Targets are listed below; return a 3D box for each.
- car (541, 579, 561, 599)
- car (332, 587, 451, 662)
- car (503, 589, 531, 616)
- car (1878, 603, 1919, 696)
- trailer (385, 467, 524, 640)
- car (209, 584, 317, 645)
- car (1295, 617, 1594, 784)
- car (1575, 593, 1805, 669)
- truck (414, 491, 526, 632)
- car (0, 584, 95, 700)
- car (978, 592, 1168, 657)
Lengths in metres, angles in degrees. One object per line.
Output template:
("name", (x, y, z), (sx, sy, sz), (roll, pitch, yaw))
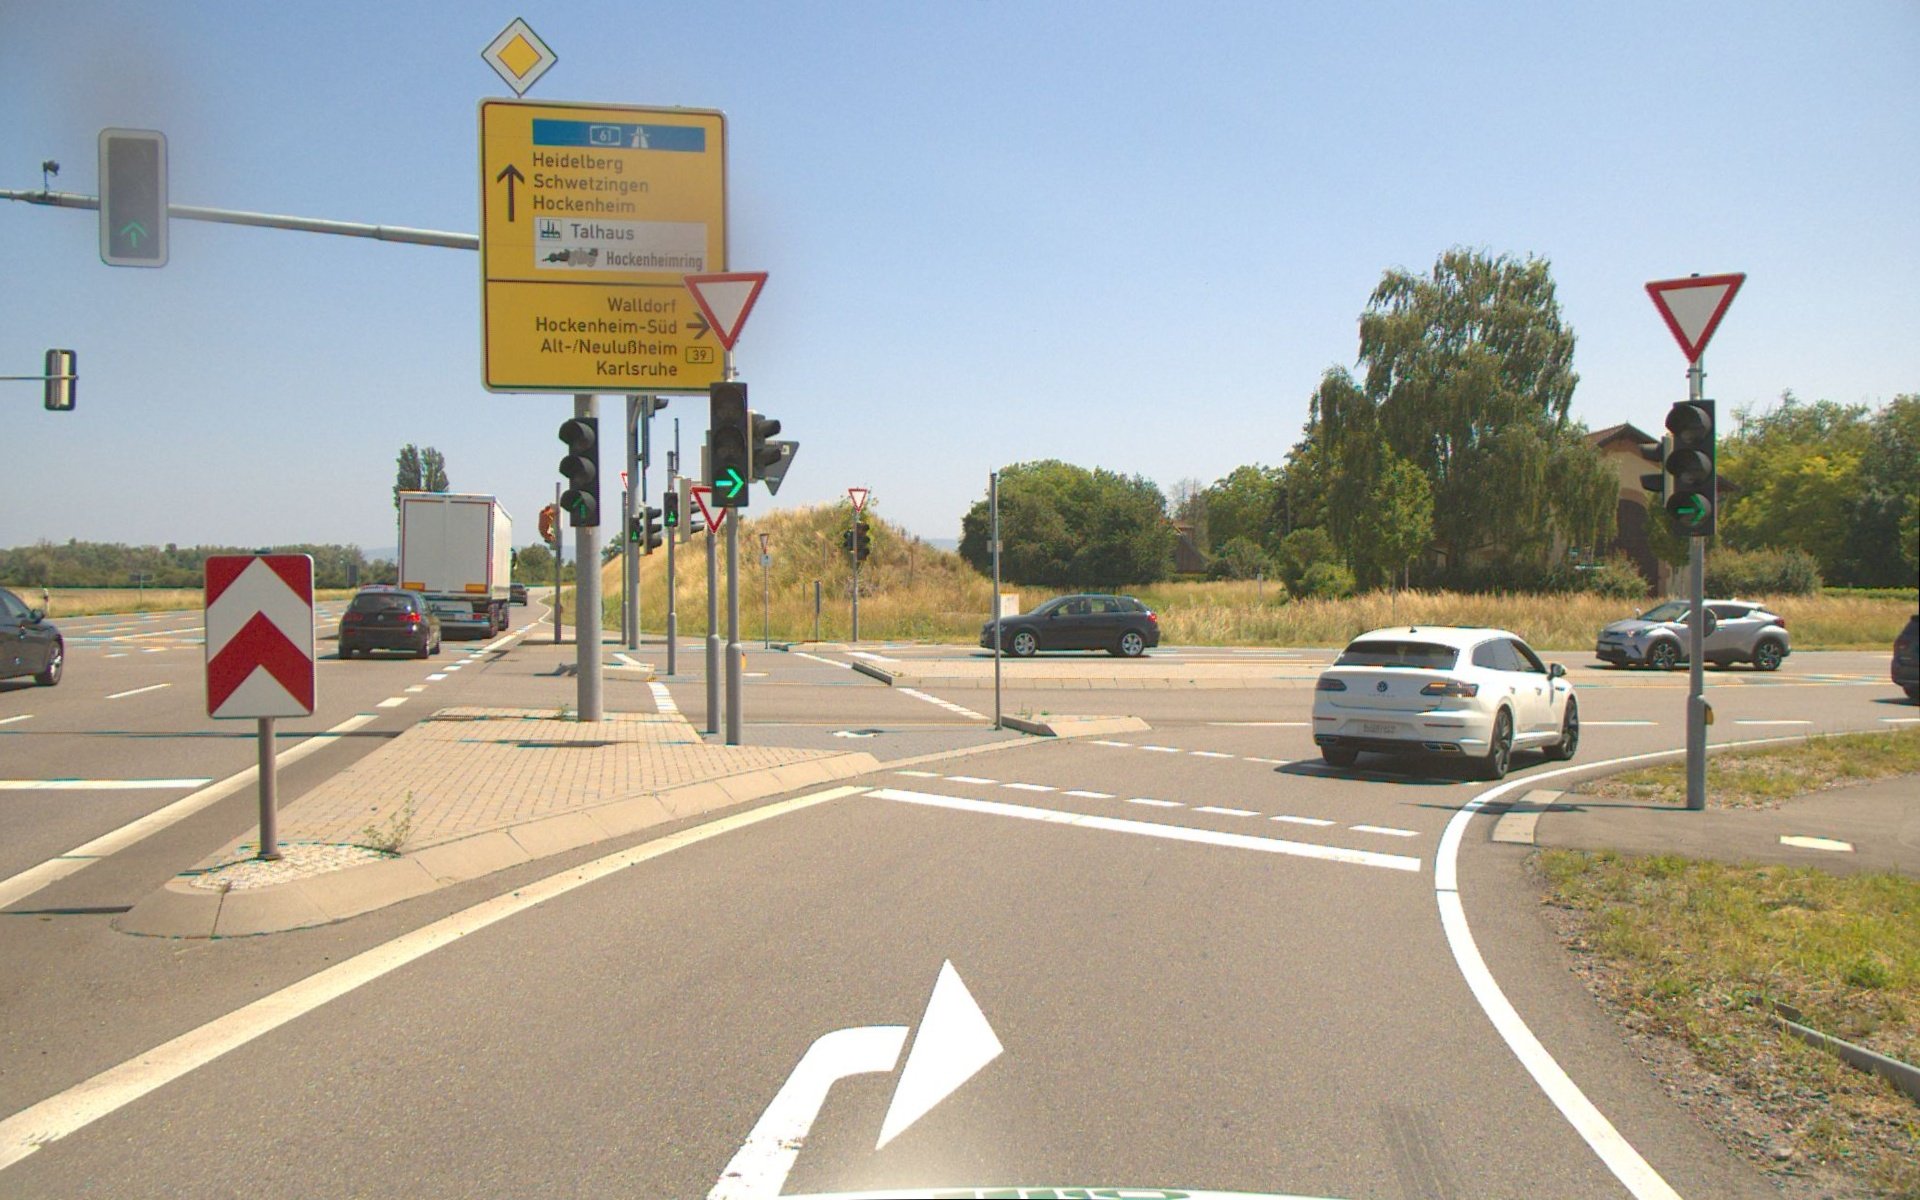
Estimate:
("car", (-41.146, -1.059, 166.260), (1.947, 1.902, 4.450), (1, 0, -14))
("car", (-12.021, 0.476, 35.199), (1.752, 1.455, 4.369), (2, 0, -11))
("car", (-33.174, 0.171, 123.879), (1.947, 1.927, 4.450), (1, 0, -14))
("car", (18.931, 0.918, 30.154), (4.317, 1.645, 1.922), (1, -1, -30))
("trailer", (-15.436, -1.279, 51.430), (3.324, 4.622, 12.824), (1, 0, -14))
("car", (-17.496, 0.364, 41.704), (1.645, 1.436, 4.454), (1, 0, -12))
("car", (5.251, 0.947, 17.480), (1.815, 1.458, 4.595), (2, 0, 32))
("car", (16.376, 0.674, 37.213), (4.451, 1.570, 1.868), (-1, 1, -9))
("truck", (-17.129, -1.281, 58.225), (3.323, 4.622, 6.350), (1, 0, -14))
("car", (-13.265, 0.526, 21.905), (1.854, 1.472, 4.515), (1, 0, -10))
("car", (2.614, 0.541, 38.657), (4.180, 1.392, 1.773), (-1, 1, -8))
